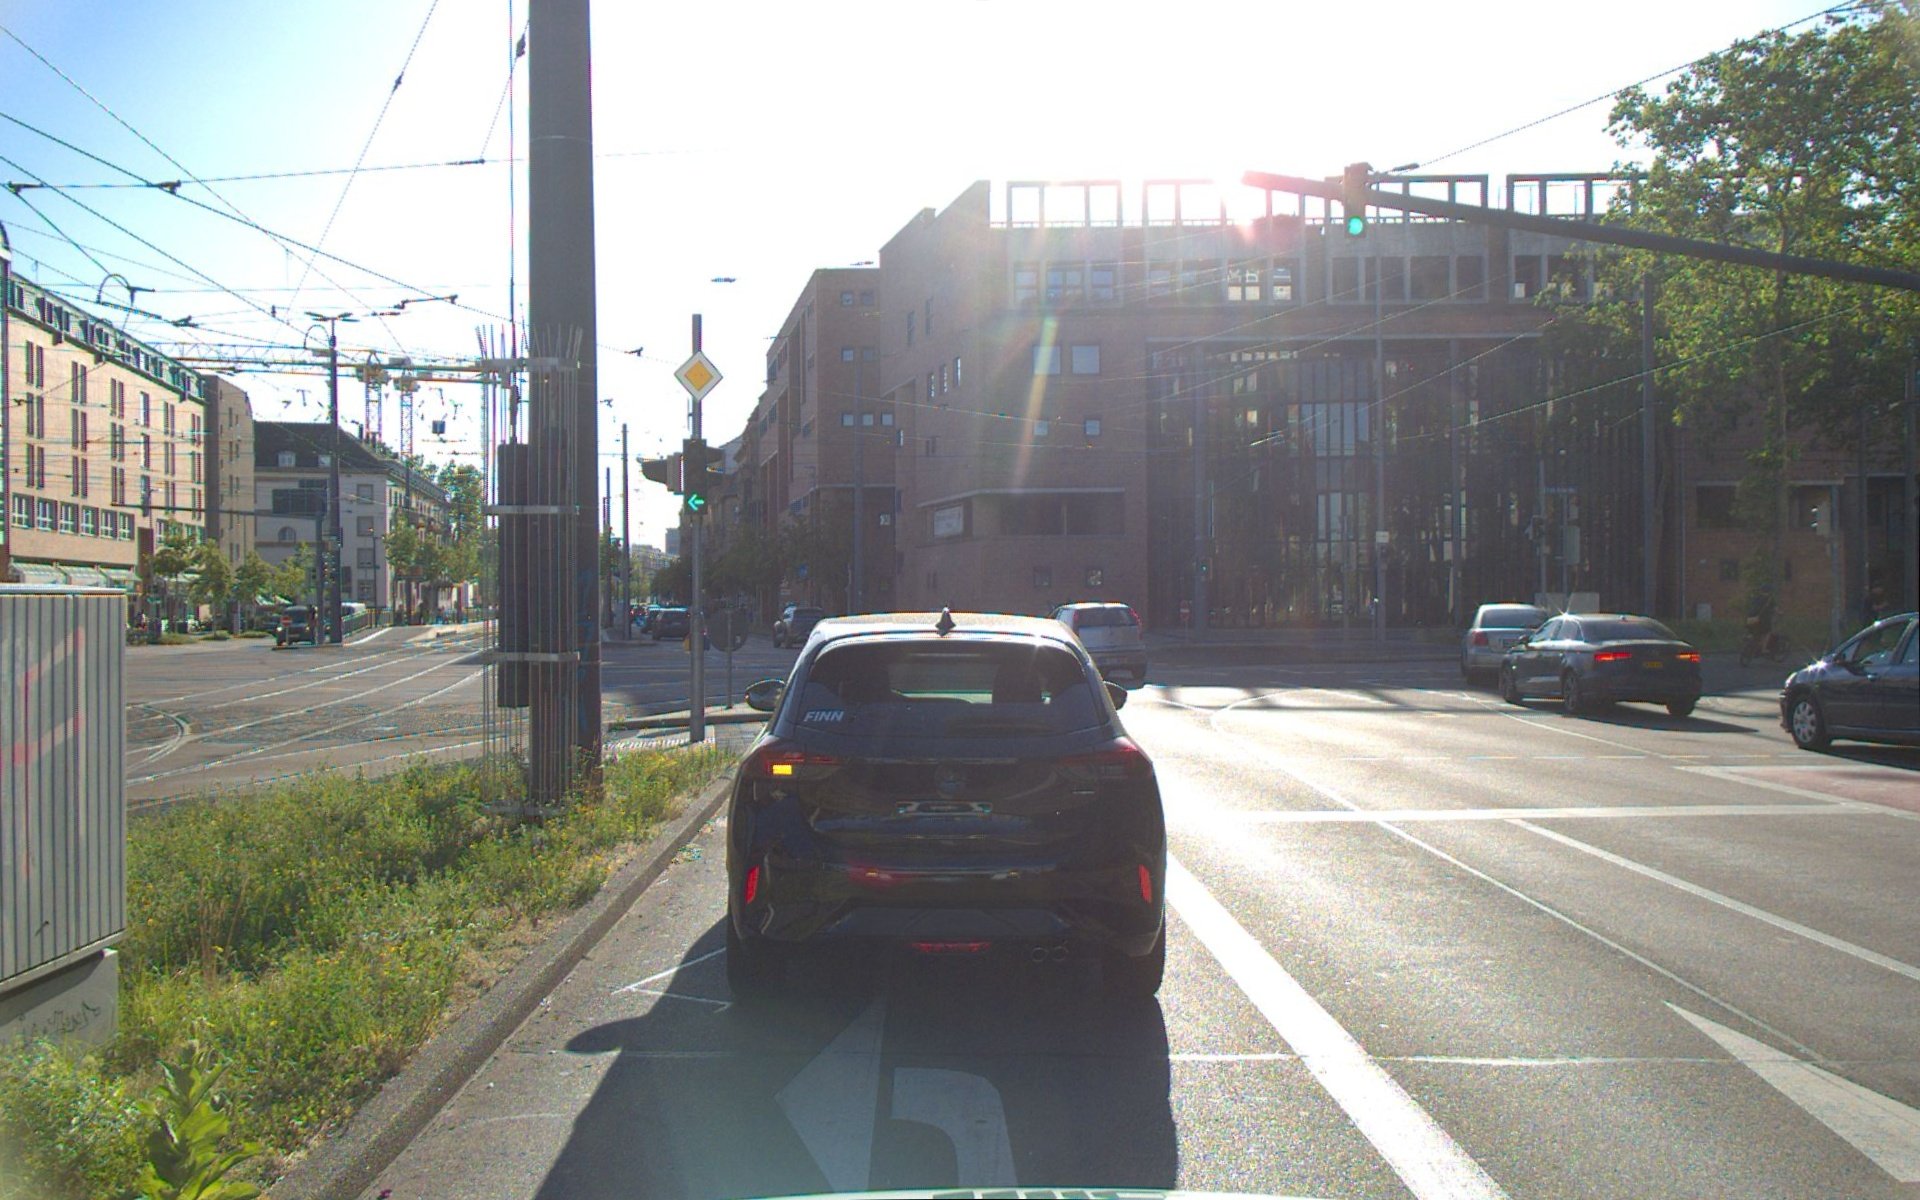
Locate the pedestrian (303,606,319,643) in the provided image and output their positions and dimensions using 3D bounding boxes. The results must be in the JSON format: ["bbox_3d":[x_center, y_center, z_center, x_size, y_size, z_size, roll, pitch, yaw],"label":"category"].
[{"bbox_3d":[-27.732,1.042,70.646,0.573,1.604,0.641,-1,0,-25],"label":"pedestrian"}]

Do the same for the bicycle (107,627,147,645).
[{"bbox_3d":[-46.593,2.018,92.525,1.992,0.937,0.483,-1,0,-2],"label":"bicycle"}]

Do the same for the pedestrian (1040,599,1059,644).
[{"bbox_3d":[3.624,0.864,67.201,0.563,1.817,0.546,-1,0,-20],"label":"pedestrian"}]

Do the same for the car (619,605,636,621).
[{"bbox_3d":[-32.536,1.290,161.914,1.489,1.479,3.572,-1,0,-13],"label":"car"}]

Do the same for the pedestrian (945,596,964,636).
[{"bbox_3d":[-0.239,0.718,74.956,0.630,1.817,0.685,-1,0,-19],"label":"pedestrian"}]

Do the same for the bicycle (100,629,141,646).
[{"bbox_3d":[-46.270,2.051,91.179,1.992,0.860,0.483,-1,0,-2],"label":"bicycle"}]

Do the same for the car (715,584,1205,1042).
[{"bbox_3d":[-0.022,0.718,7.426,1.638,1.528,3.690,1,0,-1],"label":"car"}]

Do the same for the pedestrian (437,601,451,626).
[{"bbox_3d":[-35.654,0.929,114.235,0.849,1.699,0.779,0,1,-22],"label":"pedestrian"}]

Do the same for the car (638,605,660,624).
[{"bbox_3d":[-24.657,1.141,131.041,1.489,1.479,3.572,-1,0,-13],"label":"car"}]

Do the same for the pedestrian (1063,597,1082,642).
[{"bbox_3d":[4.661,0.809,68.638,0.563,1.817,0.546,-1,0,-20],"label":"pedestrian"}]

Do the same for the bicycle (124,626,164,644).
[{"bbox_3d":[-46.252,1.995,93.722,1.992,0.937,0.483,-1,0,-2],"label":"bicycle"}]

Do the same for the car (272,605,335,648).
[{"bbox_3d":[-30.946,1.222,78.094,1.805,1.868,4.099,-2,0,-9],"label":"car"}]

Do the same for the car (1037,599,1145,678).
[{"bbox_3d":[2.552,0.723,32.900,1.530,1.481,3.427,-1,0,-6],"label":"car"}]

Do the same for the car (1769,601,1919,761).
[{"bbox_3d":[10.034,0.774,16.506,1.824,1.500,3.975,-1,0,-3],"label":"car"}]

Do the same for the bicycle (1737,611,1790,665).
[{"bbox_3d":[17.446,0.807,35.873,0.653,1.036,2.176,1,2,37],"label":"bicycle"}]

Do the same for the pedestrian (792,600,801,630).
[{"bbox_3d":[-10.033,0.927,101.645,0.537,1.817,0.572,-1,2,-9],"label":"pedestrian"}]

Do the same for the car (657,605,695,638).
[{"bbox_3d":[-13.768,1.022,79.953,1.690,1.479,3.687,-1,0,-11],"label":"car"}]

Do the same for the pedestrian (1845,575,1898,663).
[{"bbox_3d":[18.695,0.390,33.928,0.774,1.764,0.587,1,-1,7],"label":"pedestrian"}]

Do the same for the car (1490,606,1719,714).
[{"bbox_3d":[9.458,0.833,24.610,1.661,1.465,4.016,0,-1,-3],"label":"car"}]

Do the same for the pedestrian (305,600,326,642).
[{"bbox_3d":[-26.738,0.866,68.618,0.708,1.757,0.593,-1,0,-11],"label":"pedestrian"}]

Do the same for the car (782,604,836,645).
[{"bbox_3d":[-5.858,0.911,63.837,1.641,1.479,3.687,-1,0,-11],"label":"car"}]

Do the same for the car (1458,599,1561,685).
[{"bbox_3d":[10.373,0.748,31.445,1.659,1.500,3.984,-1,0,16],"label":"car"}]

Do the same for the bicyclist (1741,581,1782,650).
[{"bbox_3d":[17.260,0.324,35.606,0.653,1.432,0.812,1,2,37],"label":"bicyclist"}]

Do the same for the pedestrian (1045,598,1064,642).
[{"bbox_3d":[3.869,0.822,67.929,0.563,1.817,0.546,-1,0,-20],"label":"pedestrian"}]

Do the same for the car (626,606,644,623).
[{"bbox_3d":[-28.988,1.266,147.479,1.489,1.479,3.572,-1,0,-13],"label":"car"}]

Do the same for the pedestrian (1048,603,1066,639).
[{"bbox_3d":[4.081,0.881,69.512,0.541,1.503,0.568,-1,1,-29],"label":"pedestrian"}]
